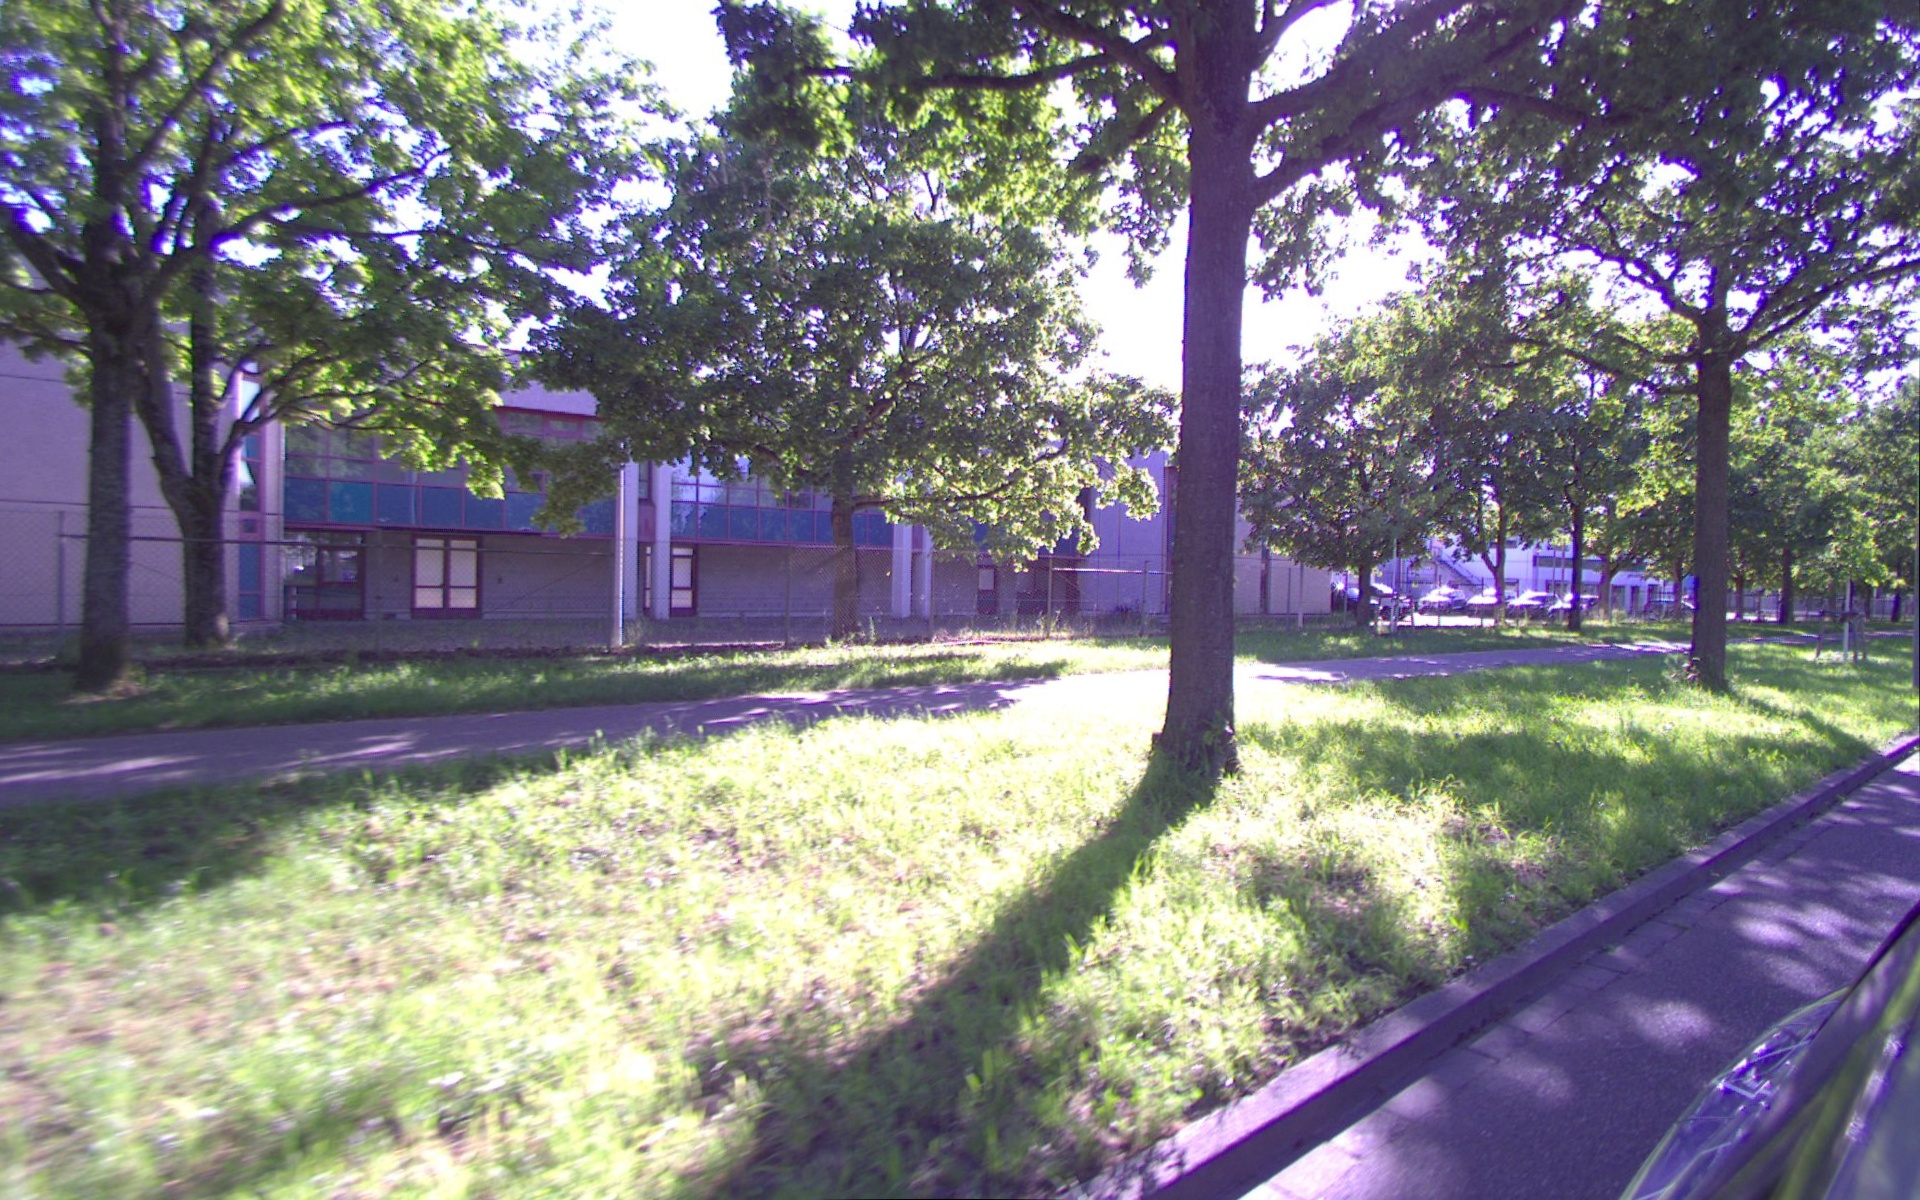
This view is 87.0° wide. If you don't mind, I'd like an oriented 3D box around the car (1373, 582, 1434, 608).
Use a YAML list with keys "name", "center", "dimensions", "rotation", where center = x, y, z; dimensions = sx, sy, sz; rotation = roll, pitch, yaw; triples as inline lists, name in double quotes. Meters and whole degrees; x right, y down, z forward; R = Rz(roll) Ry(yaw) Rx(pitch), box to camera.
- name: "car"
  center: [30.214, -0.346, 68.915]
  dimensions: [4.369, 1.677, 1.701]
  rotation: [0, 0, -32]

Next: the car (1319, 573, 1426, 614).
- name: "car"
  center: [22.573, -0.400, 55.563]
  dimensions: [1.862, 1.983, 5.072]
  rotation: [0, 3, -42]

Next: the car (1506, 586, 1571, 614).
- name: "car"
  center: [34.909, -0.021, 61.022]
  dimensions: [4.376, 1.578, 1.998]
  rotation: [0, 2, -40]

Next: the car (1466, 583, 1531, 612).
- name: "car"
  center: [33.096, -0.164, 62.126]
  dimensions: [4.376, 1.694, 1.998]
  rotation: [0, 2, -40]

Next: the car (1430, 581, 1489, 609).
- name: "car"
  center: [31.941, -0.333, 64.651]
  dimensions: [4.381, 1.694, 1.996]
  rotation: [0, 0, -43]

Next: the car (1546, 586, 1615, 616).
- name: "car"
  center: [35.955, 0.042, 58.598]
  dimensions: [4.632, 1.626, 1.998]
  rotation: [-1, 2, -40]
